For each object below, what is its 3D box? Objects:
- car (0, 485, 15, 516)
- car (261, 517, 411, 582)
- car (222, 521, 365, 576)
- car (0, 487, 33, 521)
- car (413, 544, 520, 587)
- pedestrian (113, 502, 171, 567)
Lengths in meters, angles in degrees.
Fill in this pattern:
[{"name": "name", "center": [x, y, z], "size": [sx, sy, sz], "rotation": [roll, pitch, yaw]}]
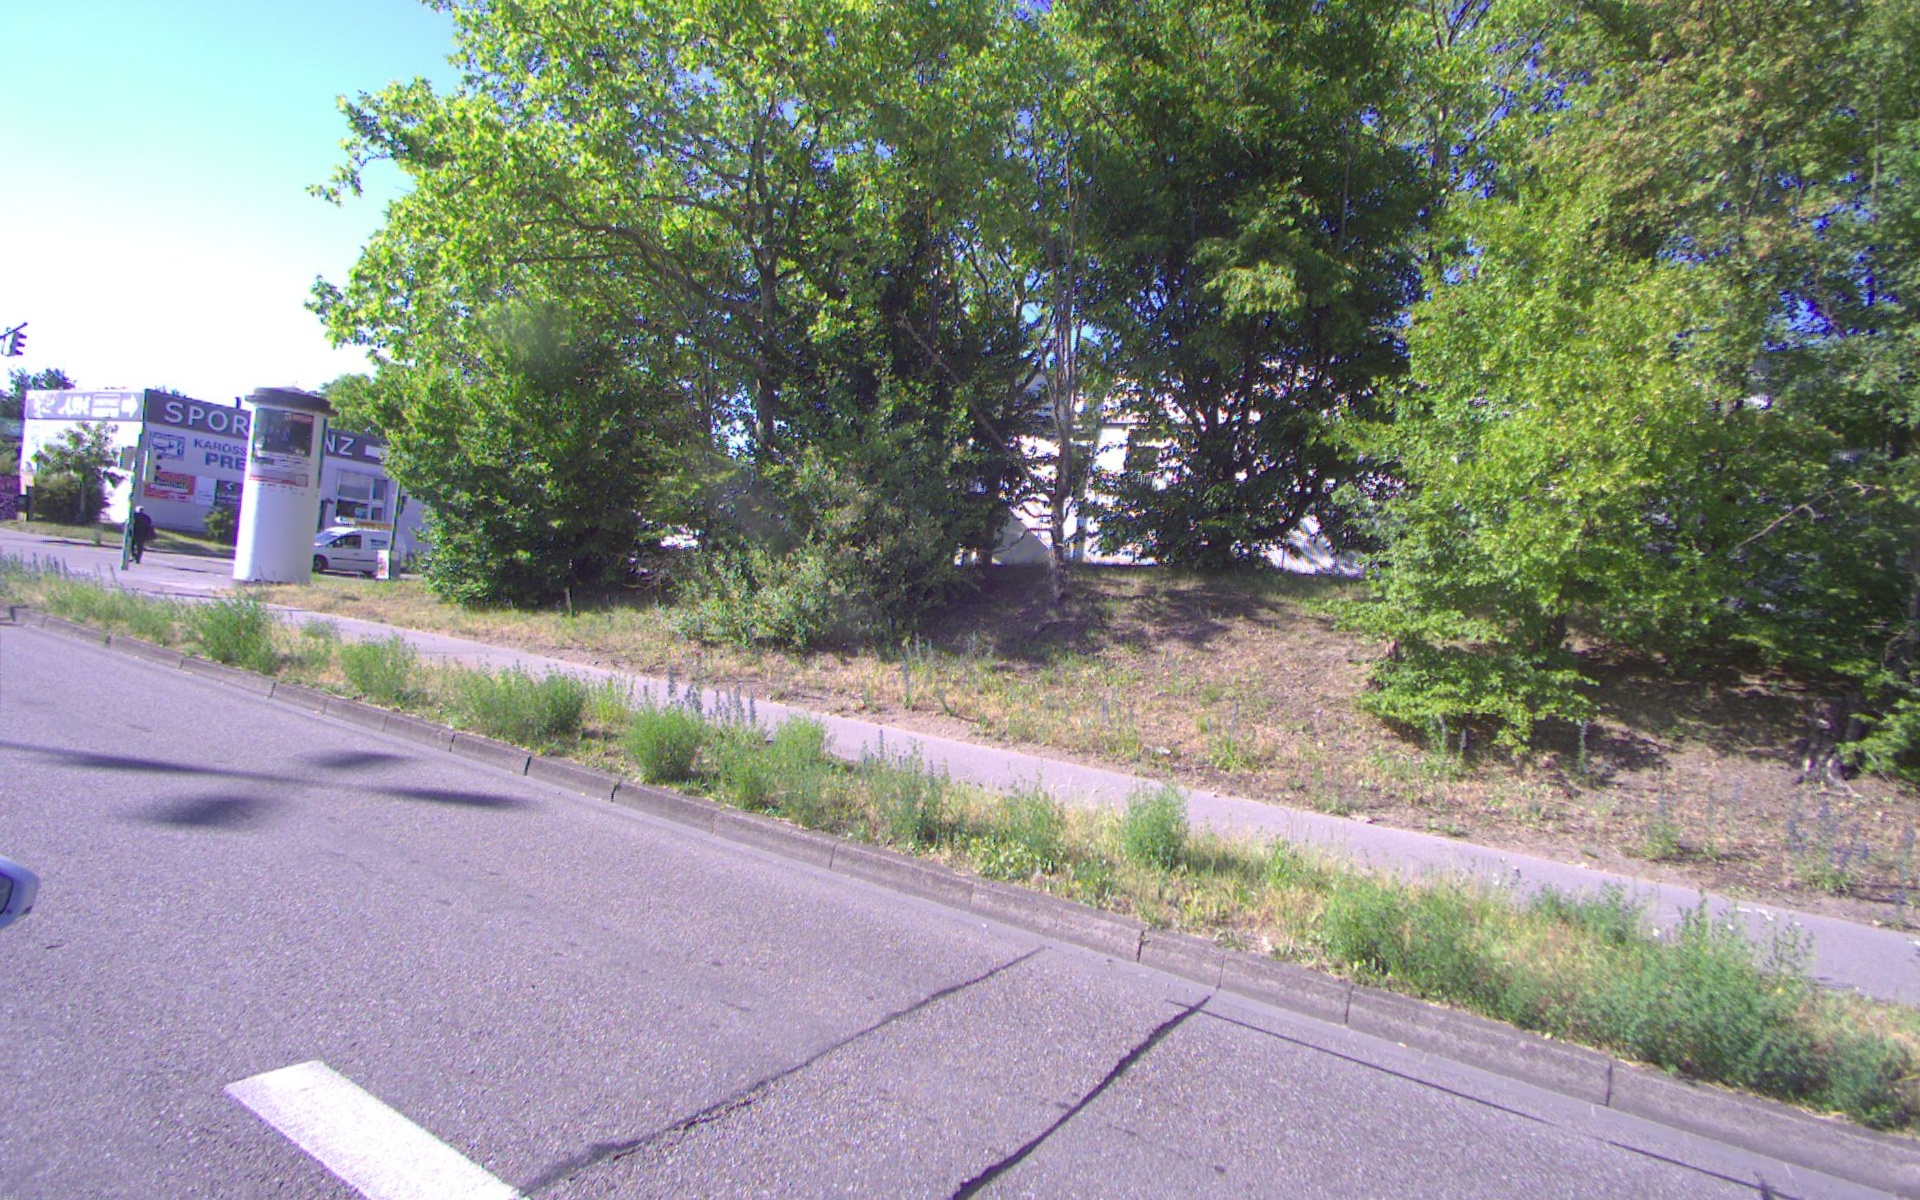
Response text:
[{"name": "car", "center": [-48.792, -5.083, 48.394], "size": [1.828, 1.472, 4.490], "rotation": [6, 1, 33]}, {"name": "car", "center": [-23.498, -1.859, 38.055], "size": [1.735, 1.824, 4.387], "rotation": [8, 1, 30]}, {"name": "car", "center": [-26.275, -2.013, 39.804], "size": [1.735, 1.568, 4.293], "rotation": [8, 1, 30]}, {"name": "car", "center": [-46.544, -4.727, 46.916], "size": [1.828, 1.472, 4.490], "rotation": [6, 1, 33]}, {"name": "car", "center": [-22.600, -1.561, 46.237], "size": [1.753, 1.509, 4.046], "rotation": [6, 0, 30]}, {"name": "pedestrian", "center": [-24.421, -1.954, 30.030], "size": [0.923, 1.755, 0.927], "rotation": [6, -2, 31]}]
